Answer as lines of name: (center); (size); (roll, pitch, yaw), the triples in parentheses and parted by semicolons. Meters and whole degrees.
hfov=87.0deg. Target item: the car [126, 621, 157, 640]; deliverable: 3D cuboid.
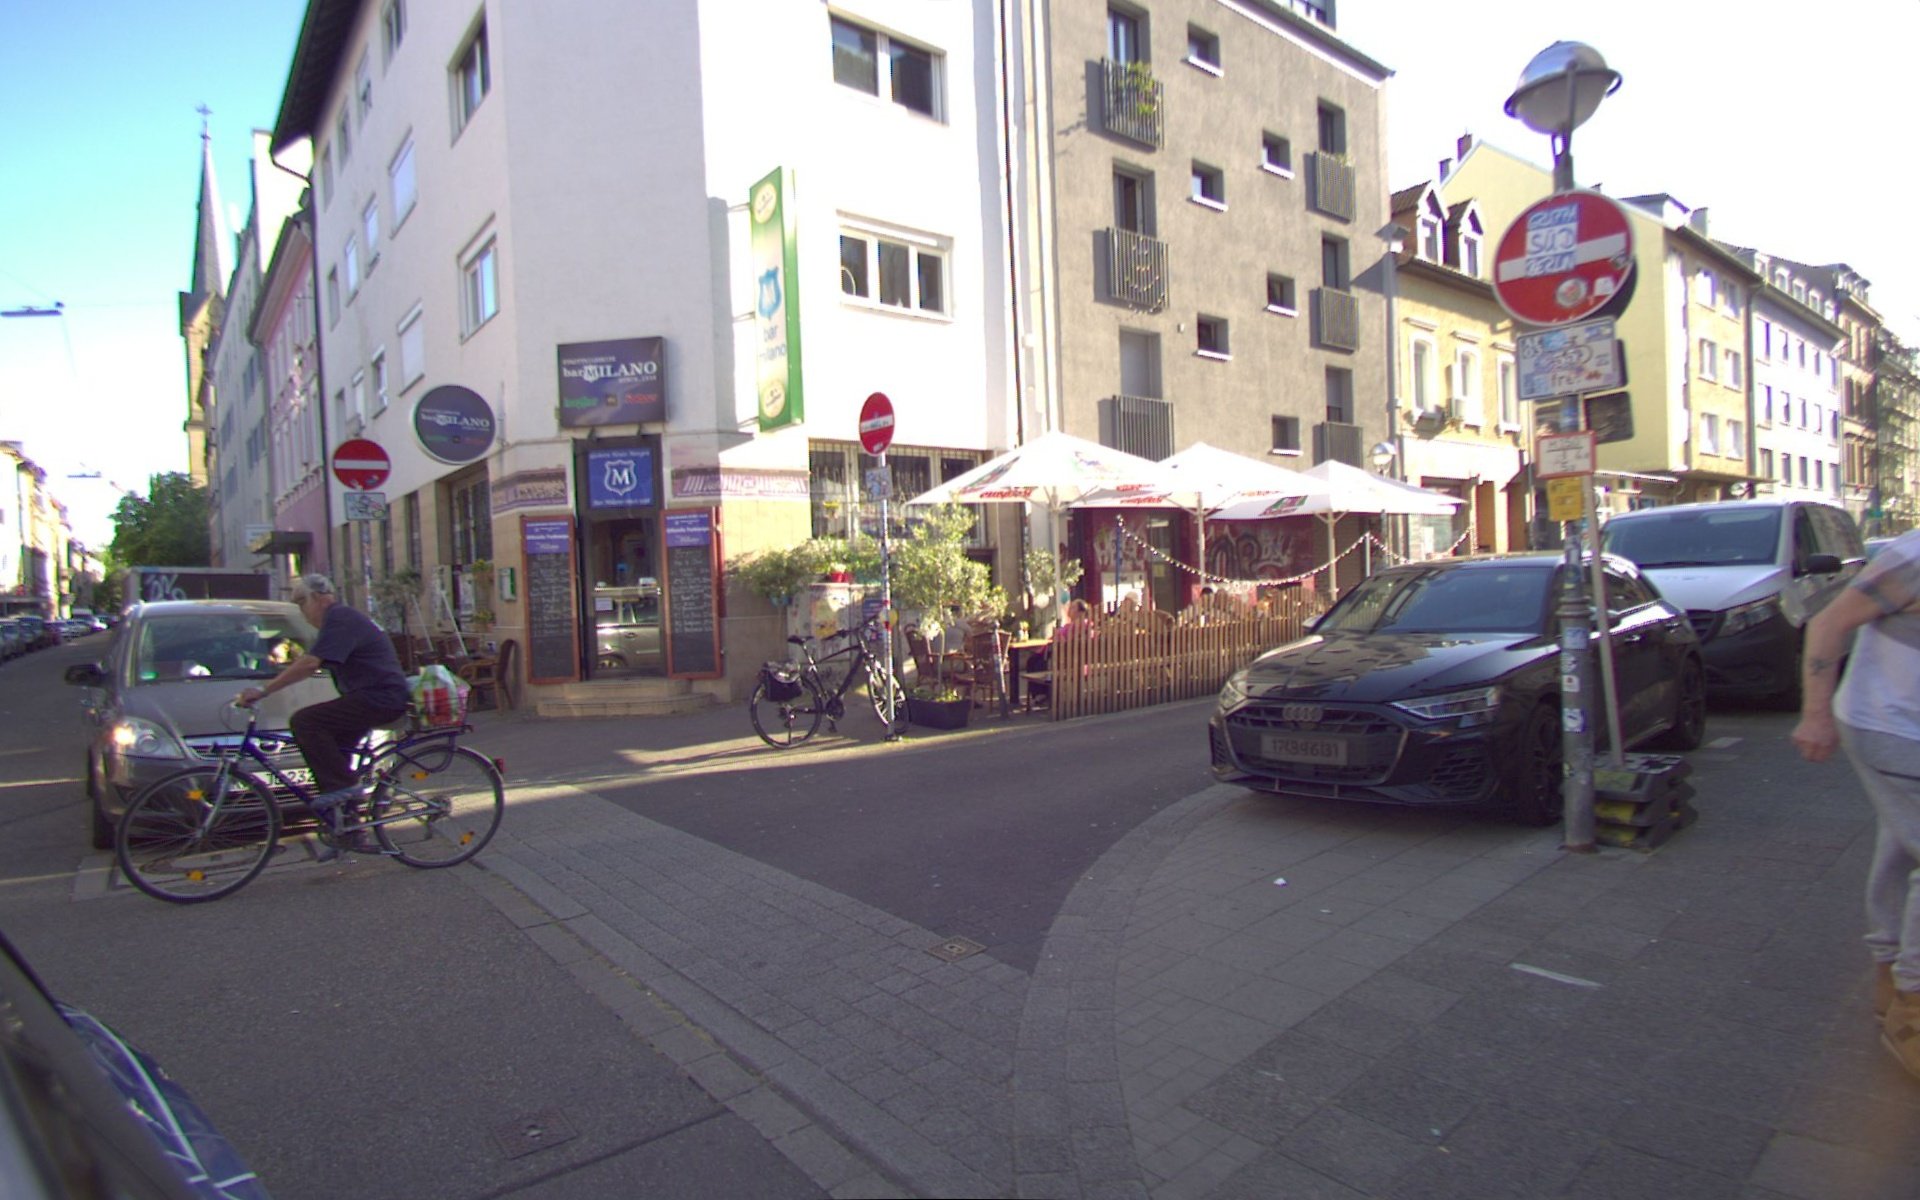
car: (-76.585, 2.803, 94.711); (1.899, 1.542, 4.569); (-5, 3, -43)

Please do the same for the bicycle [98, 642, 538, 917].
bicycle: (-3.417, 0.856, 5.512); (1.905, 1.120, 0.711); (-3, 1, -41)

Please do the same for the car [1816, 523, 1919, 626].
car: (16.184, -0.485, 17.228); (4.343, 1.581, 1.774); (-4, 1, -41)

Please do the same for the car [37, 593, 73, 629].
car: (-74.656, 0.899, 83.471); (1.970, 2.813, 4.569); (-4, 3, -43)

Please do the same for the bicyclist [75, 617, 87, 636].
bicyclist: (-79.523, 2.386, 91.519); (0.705, 1.671, 0.878); (-4, 2, -42)

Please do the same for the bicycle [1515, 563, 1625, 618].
bicycle: (12.800, -0.197, 21.308); (1.919, 1.078, 0.607); (-2, 2, 28)

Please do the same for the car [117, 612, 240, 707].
car: (-14.790, 1.017, 19.093); (1.652, 1.508, 4.539); (-1, 0, -39)

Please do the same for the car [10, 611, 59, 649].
car: (-55.116, 1.756, 60.346); (1.970, 2.028, 4.570); (-4, 3, -41)

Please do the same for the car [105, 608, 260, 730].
car: (-11.763, 0.916, 15.257); (1.655, 1.566, 3.825); (-1, 0, -39)

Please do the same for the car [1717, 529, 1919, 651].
car: (11.850, -0.195, 13.810); (3.907, 1.421, 1.761); (-4, 1, -43)

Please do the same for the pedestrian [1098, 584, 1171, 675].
pedestrian: (2.372, 0.387, 13.772); (0.649, 1.163, 0.683); (-4, 2, -30)

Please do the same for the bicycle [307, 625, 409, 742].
bicycle: (-6.617, 0.879, 11.101); (0.569, 1.147, 1.462); (-4, 3, -44)

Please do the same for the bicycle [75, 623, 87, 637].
bicycle: (-79.491, 2.732, 91.508); (0.718, 1.189, 2.492); (-4, 2, -41)

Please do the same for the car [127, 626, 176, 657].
car: (-48.056, 2.420, 60.148); (1.899, 1.542, 4.569); (-5, 3, -43)

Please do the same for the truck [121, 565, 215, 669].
truck: (-27.116, 0.523, 34.688); (2.261, 3.207, 7.059); (-2, 1, -38)

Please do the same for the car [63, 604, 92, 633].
car: (-90.741, 1.866, 104.028); (1.970, 2.813, 4.569); (-4, 3, -43)

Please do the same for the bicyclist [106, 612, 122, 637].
bicyclist: (-82.261, 2.386, 98.391); (1.005, 2.310, 1.533); (-4, 2, -44)

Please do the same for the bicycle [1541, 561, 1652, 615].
bicycle: (13.756, -0.255, 21.928); (0.602, 1.078, 1.933); (-4, 2, -34)

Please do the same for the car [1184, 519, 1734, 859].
car: (3.363, 0.301, 6.399); (4.091, 1.466, 1.761); (-4, 1, -43)

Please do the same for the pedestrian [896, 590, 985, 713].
pedestrian: (-0.219, 0.542, 11.227); (0.677, 1.275, 0.662); (-4, 2, -35)

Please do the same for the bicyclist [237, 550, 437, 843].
bicyclist: (-3.405, 0.471, 5.532); (0.777, 1.446, 0.711); (-3, 1, -41)

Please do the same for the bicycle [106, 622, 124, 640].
bicycle: (-82.284, 2.990, 98.493); (1.005, 1.663, 3.551); (-4, 3, -44)

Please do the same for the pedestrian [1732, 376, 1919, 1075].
pedestrian: (2.660, 0.280, 2.565); (0.685, 1.713, 0.866); (-8, 2, -39)

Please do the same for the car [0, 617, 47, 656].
car: (-46.019, 1.760, 49.566); (1.687, 1.744, 4.228); (-1, 0, -40)

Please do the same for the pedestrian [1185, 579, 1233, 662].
pedestrian: (3.642, 0.290, 14.845); (0.536, 1.153, 0.659); (-3, 2, 5)

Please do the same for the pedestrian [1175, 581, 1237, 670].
pedestrian: (3.373, 0.336, 13.919); (0.680, 1.153, 0.659); (-3, 2, 5)

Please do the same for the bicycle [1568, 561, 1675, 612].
bicycle: (14.996, -0.303, 22.991); (0.602, 1.078, 1.933); (-4, 2, -34)

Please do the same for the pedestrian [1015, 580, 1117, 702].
pedestrian: (1.197, 0.438, 11.467); (0.837, 1.275, 0.708); (-4, 2, -35)

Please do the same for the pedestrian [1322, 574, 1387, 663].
pedestrian: (5.946, 0.264, 15.268); (0.671, 1.275, 0.723); (-3, 2, 3)

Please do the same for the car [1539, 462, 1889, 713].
car: (7.575, -0.194, 9.923); (5.026, 1.864, 1.859); (-4, 1, -43)

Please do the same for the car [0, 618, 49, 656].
car: (-49.499, 1.917, 53.592); (1.687, 1.826, 4.228); (-1, 0, -40)

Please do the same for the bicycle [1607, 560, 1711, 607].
bicycle: (16.689, -0.386, 24.214); (0.602, 1.078, 1.933); (-4, 2, -34)

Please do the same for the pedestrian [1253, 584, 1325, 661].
pedestrian: (4.780, 0.313, 14.712); (0.712, 1.061, 0.680); (-4, 2, -35)

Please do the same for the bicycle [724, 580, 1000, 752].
bicycle: (-0.868, 0.538, 9.529); (2.444, 1.369, 0.930); (-3, 1, -39)

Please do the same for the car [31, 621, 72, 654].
car: (-63.035, 2.546, 70.171); (1.970, 2.028, 4.569); (-5, 3, -43)

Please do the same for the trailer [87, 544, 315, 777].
trailer: (-8.533, 0.537, 11.215); (1.641, 2.076, 4.369); (-1, 0, -42)

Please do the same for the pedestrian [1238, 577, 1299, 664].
pedestrian: (4.756, 0.306, 15.624); (0.649, 1.275, 0.616); (-3, 2, -9)

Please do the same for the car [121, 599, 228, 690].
car: (-18.153, 0.934, 23.342); (1.780, 1.858, 4.251); (-2, 1, -39)

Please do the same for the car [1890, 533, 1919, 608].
car: (20.122, -0.664, 20.503); (3.531, 1.449, 1.600); (-4, 1, -43)

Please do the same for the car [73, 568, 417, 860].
car: (-5.623, 0.659, 7.748); (1.701, 1.617, 4.172); (-1, 0, -41)

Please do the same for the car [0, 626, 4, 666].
car: (-34.678, 1.654, 35.353); (1.588, 1.406, 3.888); (-1, 0, -39)

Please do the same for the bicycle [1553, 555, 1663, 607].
bicycle: (14.273, -0.404, 22.345); (0.602, 1.078, 1.933); (-4, 2, -34)

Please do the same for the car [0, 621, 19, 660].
car: (-38.922, 1.621, 40.493); (1.588, 1.463, 3.888); (-1, 0, -39)

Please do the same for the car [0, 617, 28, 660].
car: (-41.966, 1.667, 44.135); (1.687, 1.744, 4.228); (-1, 0, -40)
